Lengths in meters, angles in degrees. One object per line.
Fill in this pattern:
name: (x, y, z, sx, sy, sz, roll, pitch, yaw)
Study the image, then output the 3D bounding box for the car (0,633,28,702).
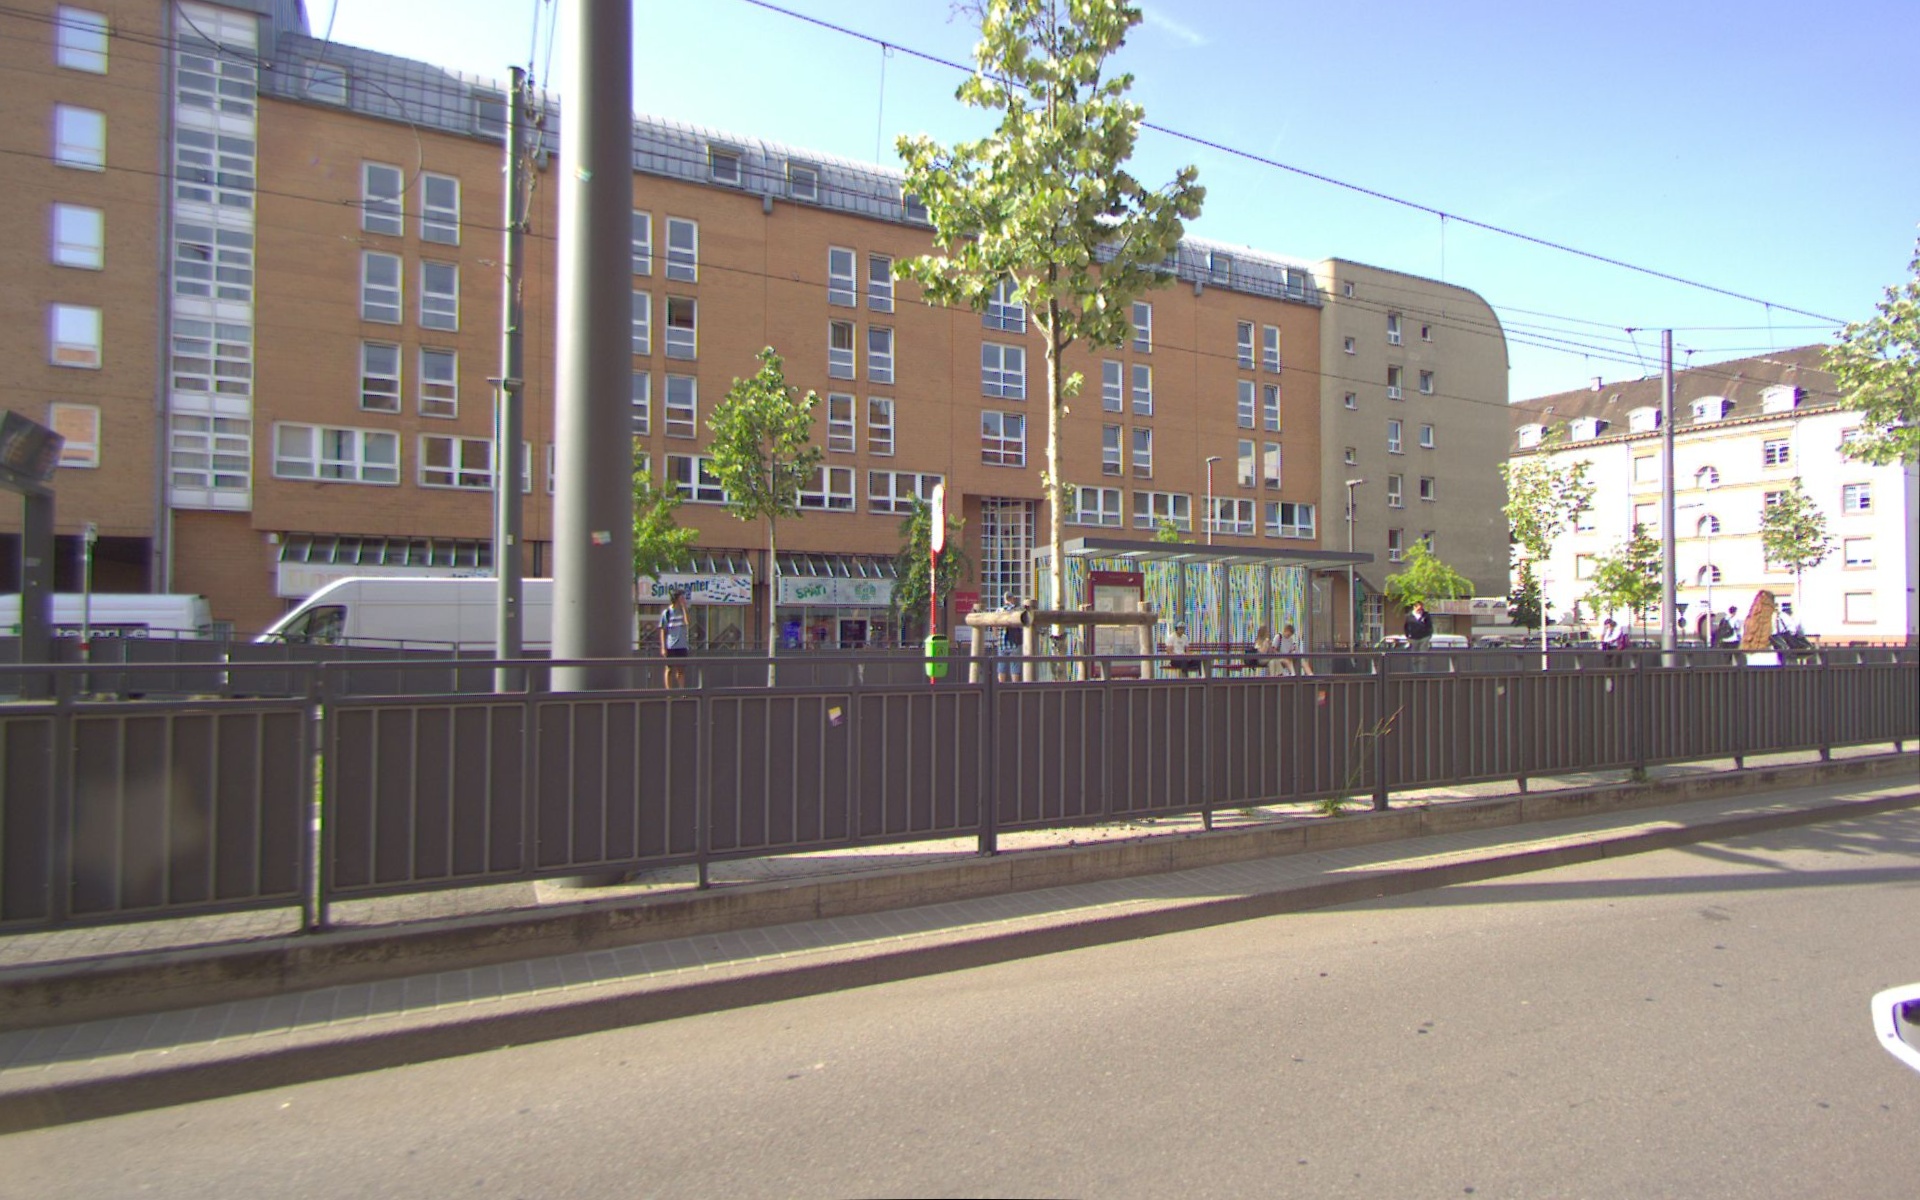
car: (-15.331, 0.952, 13.737, 3.442, 0.983, 1.540, 1, -3, -27)

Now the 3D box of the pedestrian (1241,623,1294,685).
pedestrian: (6.401, 1.128, 20.924, 0.666, 1.261, 0.789, 1, -3, -27)

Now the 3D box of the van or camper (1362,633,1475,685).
van or camper: (18.601, 2.353, 40.780, 3.941, 2.040, 1.990, 1, -2, -22)

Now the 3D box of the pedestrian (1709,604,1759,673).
pedestrian: (21.699, 1.074, 28.170, 0.926, 1.896, 0.737, 1, -2, -24)

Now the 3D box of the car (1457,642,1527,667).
car: (33.057, 3.368, 62.420, 3.951, 1.528, 1.985, 1, -2, -29)

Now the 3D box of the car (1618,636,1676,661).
car: (44.522, 3.153, 65.115, 3.882, 1.553, 1.664, 1, -2, -32)

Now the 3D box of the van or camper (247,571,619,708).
van or camper: (-8.682, 0.674, 17.053, 5.272, 2.040, 2.075, 1, -3, -27)

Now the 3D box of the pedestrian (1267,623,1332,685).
pedestrian: (7.118, 1.136, 21.108, 0.666, 1.261, 1.149, 1, -3, -27)

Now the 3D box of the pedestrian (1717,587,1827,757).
pedestrian: (8.886, 0.763, 10.999, 0.718, 1.781, 0.671, 1, 0, -27)

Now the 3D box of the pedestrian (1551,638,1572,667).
pedestrian: (32.673, 2.848, 54.586, 0.675, 1.604, 0.798, 1, -2, -41)

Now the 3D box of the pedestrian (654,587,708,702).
pedestrian: (-4.452, 0.697, 16.012, 0.689, 1.784, 0.649, 1, 0, -25)

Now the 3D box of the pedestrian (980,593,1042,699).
pedestrian: (0.890, 0.804, 17.353, 0.771, 1.769, 0.834, -2, -4, 27)

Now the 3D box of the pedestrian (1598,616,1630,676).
pedestrian: (17.076, 1.194, 26.226, 0.666, 1.551, 0.810, -1, -2, 33)

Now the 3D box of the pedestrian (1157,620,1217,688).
pedestrian: (4.576, 1.085, 20.237, 0.799, 1.331, 0.865, 1, -3, -29)

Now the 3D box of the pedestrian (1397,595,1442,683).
pedestrian: (10.175, 0.857, 22.237, 0.794, 1.911, 0.553, -1, -2, 35)

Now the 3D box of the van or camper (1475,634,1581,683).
van or camper: (24.338, 2.481, 43.086, 3.942, 1.994, 1.926, 1, -2, -22)

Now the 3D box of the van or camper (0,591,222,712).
van or camper: (-21.889, 1.278, 25.042, 5.282, 2.838, 1.987, 1, -3, -26)
